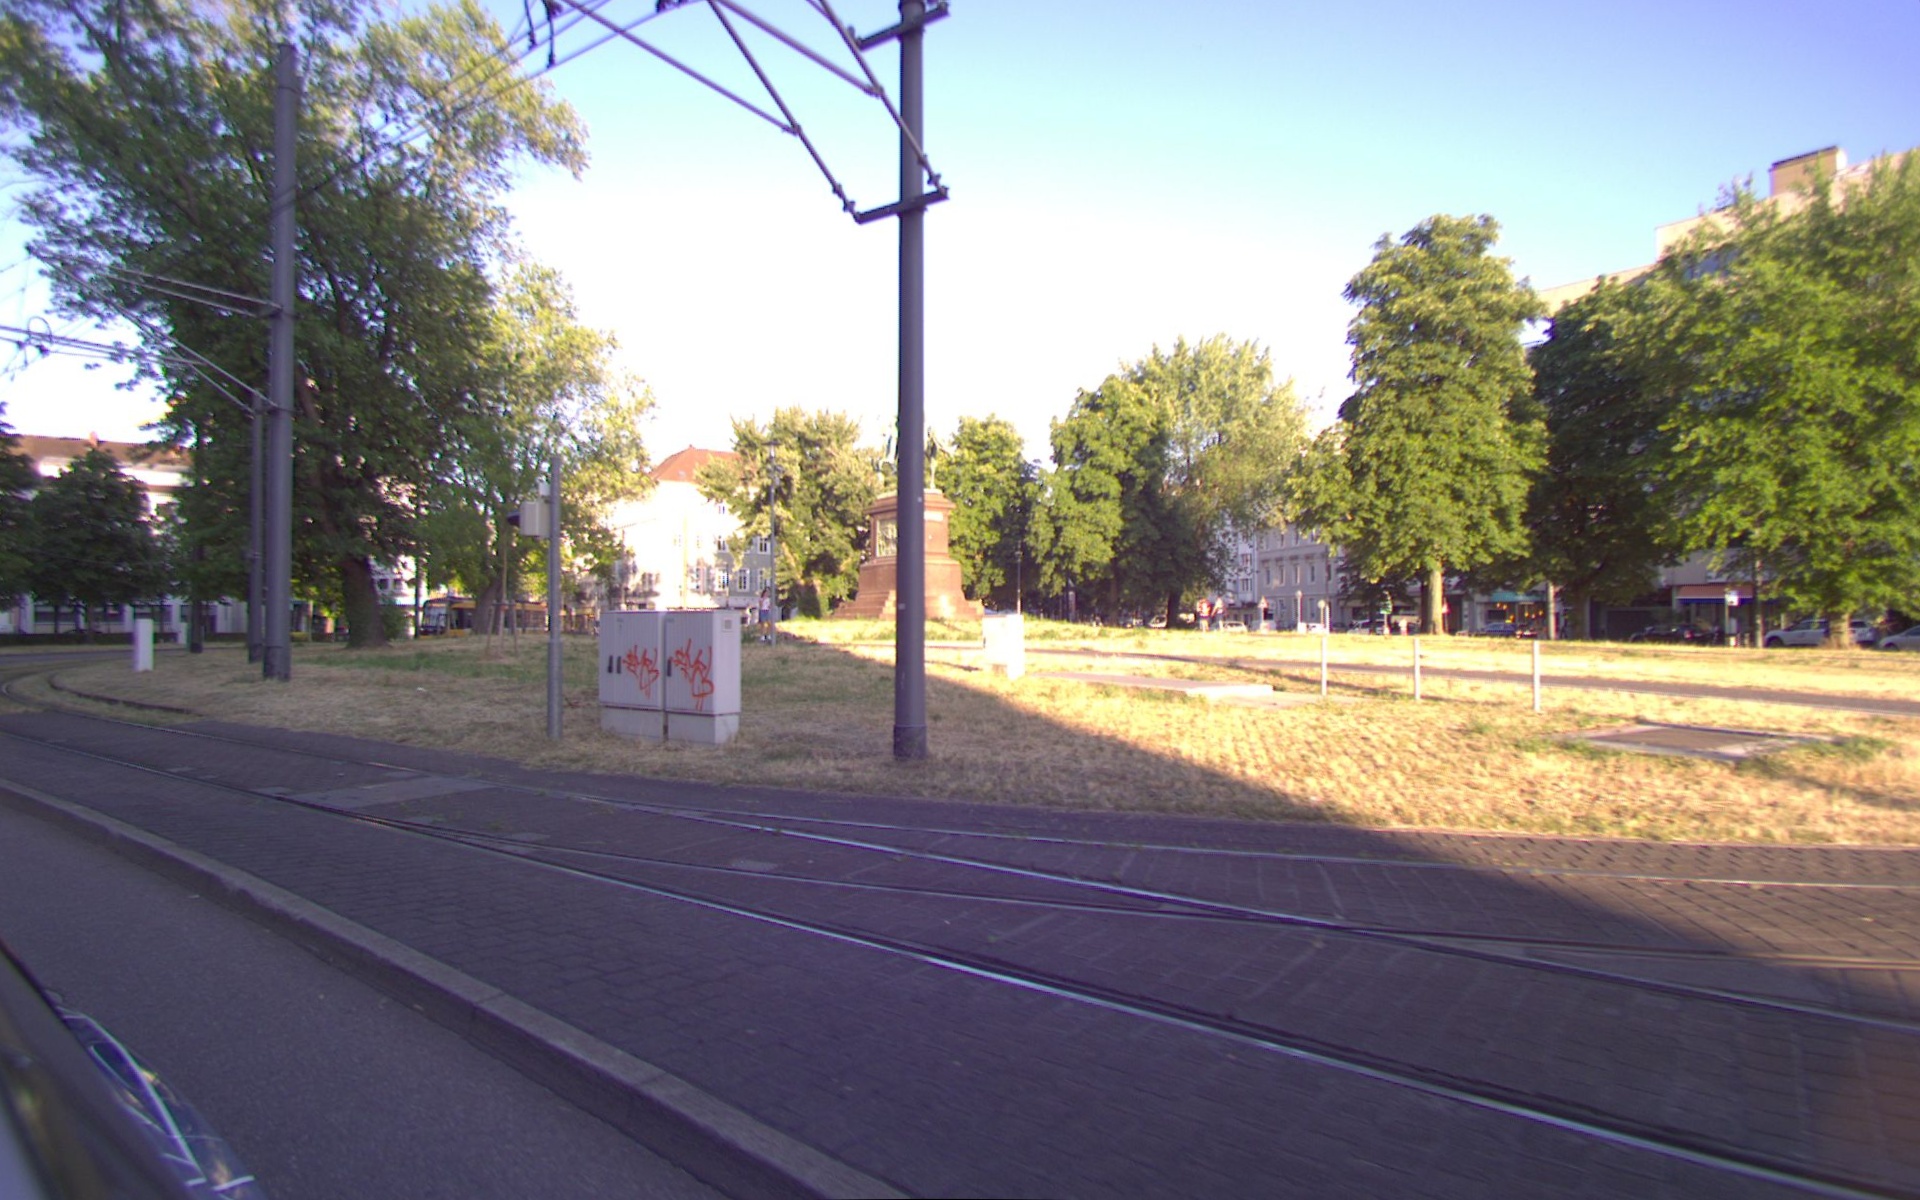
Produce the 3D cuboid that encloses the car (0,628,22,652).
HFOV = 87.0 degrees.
[{"bbox_3d":[-70.170,2.909,72.698,3.948,1.738,1.705,1,-3,-38],"label":"car"}]

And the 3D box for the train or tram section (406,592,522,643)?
[{"bbox_3d":[-38.260,1.346,78.884,2.907,3.611,13.371,-1,-1,-2],"label":"train or tram section"}]

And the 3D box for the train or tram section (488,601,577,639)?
[{"bbox_3d":[-38.462,1.801,91.746,2.890,3.165,12.859,-1,-1,-1],"label":"train or tram section"}]

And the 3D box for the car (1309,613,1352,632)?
[{"bbox_3d":[33.000,2.035,90.141,1.768,1.592,4.008,0,-2,-10],"label":"car"}]

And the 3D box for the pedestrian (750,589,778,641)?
[{"bbox_3d":[-6.473,0.513,33.406,0.835,1.703,0.470,-2,-3,40],"label":"pedestrian"}]

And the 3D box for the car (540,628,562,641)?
[{"bbox_3d":[-52.983,4.513,131.084,1.696,1.564,3.977,1,-3,-35],"label":"car"}]

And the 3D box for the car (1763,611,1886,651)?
[{"bbox_3d":[41.559,1.522,48.795,1.730,1.808,4.219,0,-2,-13],"label":"car"}]

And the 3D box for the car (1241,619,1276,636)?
[{"bbox_3d":[30.166,2.769,102.408,1.768,1.592,4.008,0,-2,-10],"label":"car"}]

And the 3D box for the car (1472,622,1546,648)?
[{"bbox_3d":[35.237,2.260,65.091,1.834,1.568,4.078,0,-2,-13],"label":"car"}]

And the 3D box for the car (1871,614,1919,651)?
[{"bbox_3d":[42.286,1.395,43.723,1.730,1.564,4.010,0,-2,-13],"label":"car"}]

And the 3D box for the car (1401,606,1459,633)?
[{"bbox_3d":[35.618,1.520,76.828,1.730,1.959,4.219,0,-2,-13],"label":"car"}]

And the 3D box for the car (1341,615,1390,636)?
[{"bbox_3d":[33.953,2.171,84.823,1.730,1.676,4.010,0,-2,-13],"label":"car"}]

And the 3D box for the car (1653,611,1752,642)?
[{"bbox_3d":[40.624,1.469,55.501,1.834,1.568,4.078,0,-2,-13],"label":"car"}]

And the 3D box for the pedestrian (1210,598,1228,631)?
[{"bbox_3d":[12.514,0.699,48.925,0.609,1.593,0.555,1,-3,-34],"label":"pedestrian"}]

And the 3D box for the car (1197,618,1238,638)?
[{"bbox_3d":[20.926,2.308,82.398,1.768,1.592,4.008,0,-2,-10],"label":"car"}]

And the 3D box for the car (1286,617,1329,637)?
[{"bbox_3d":[30.229,2.361,88.042,1.768,1.592,4.008,0,-2,-10],"label":"car"}]

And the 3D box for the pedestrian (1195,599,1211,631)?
[{"bbox_3d":[11.781,0.726,48.990,0.446,1.524,0.555,1,-3,-34],"label":"pedestrian"}]
